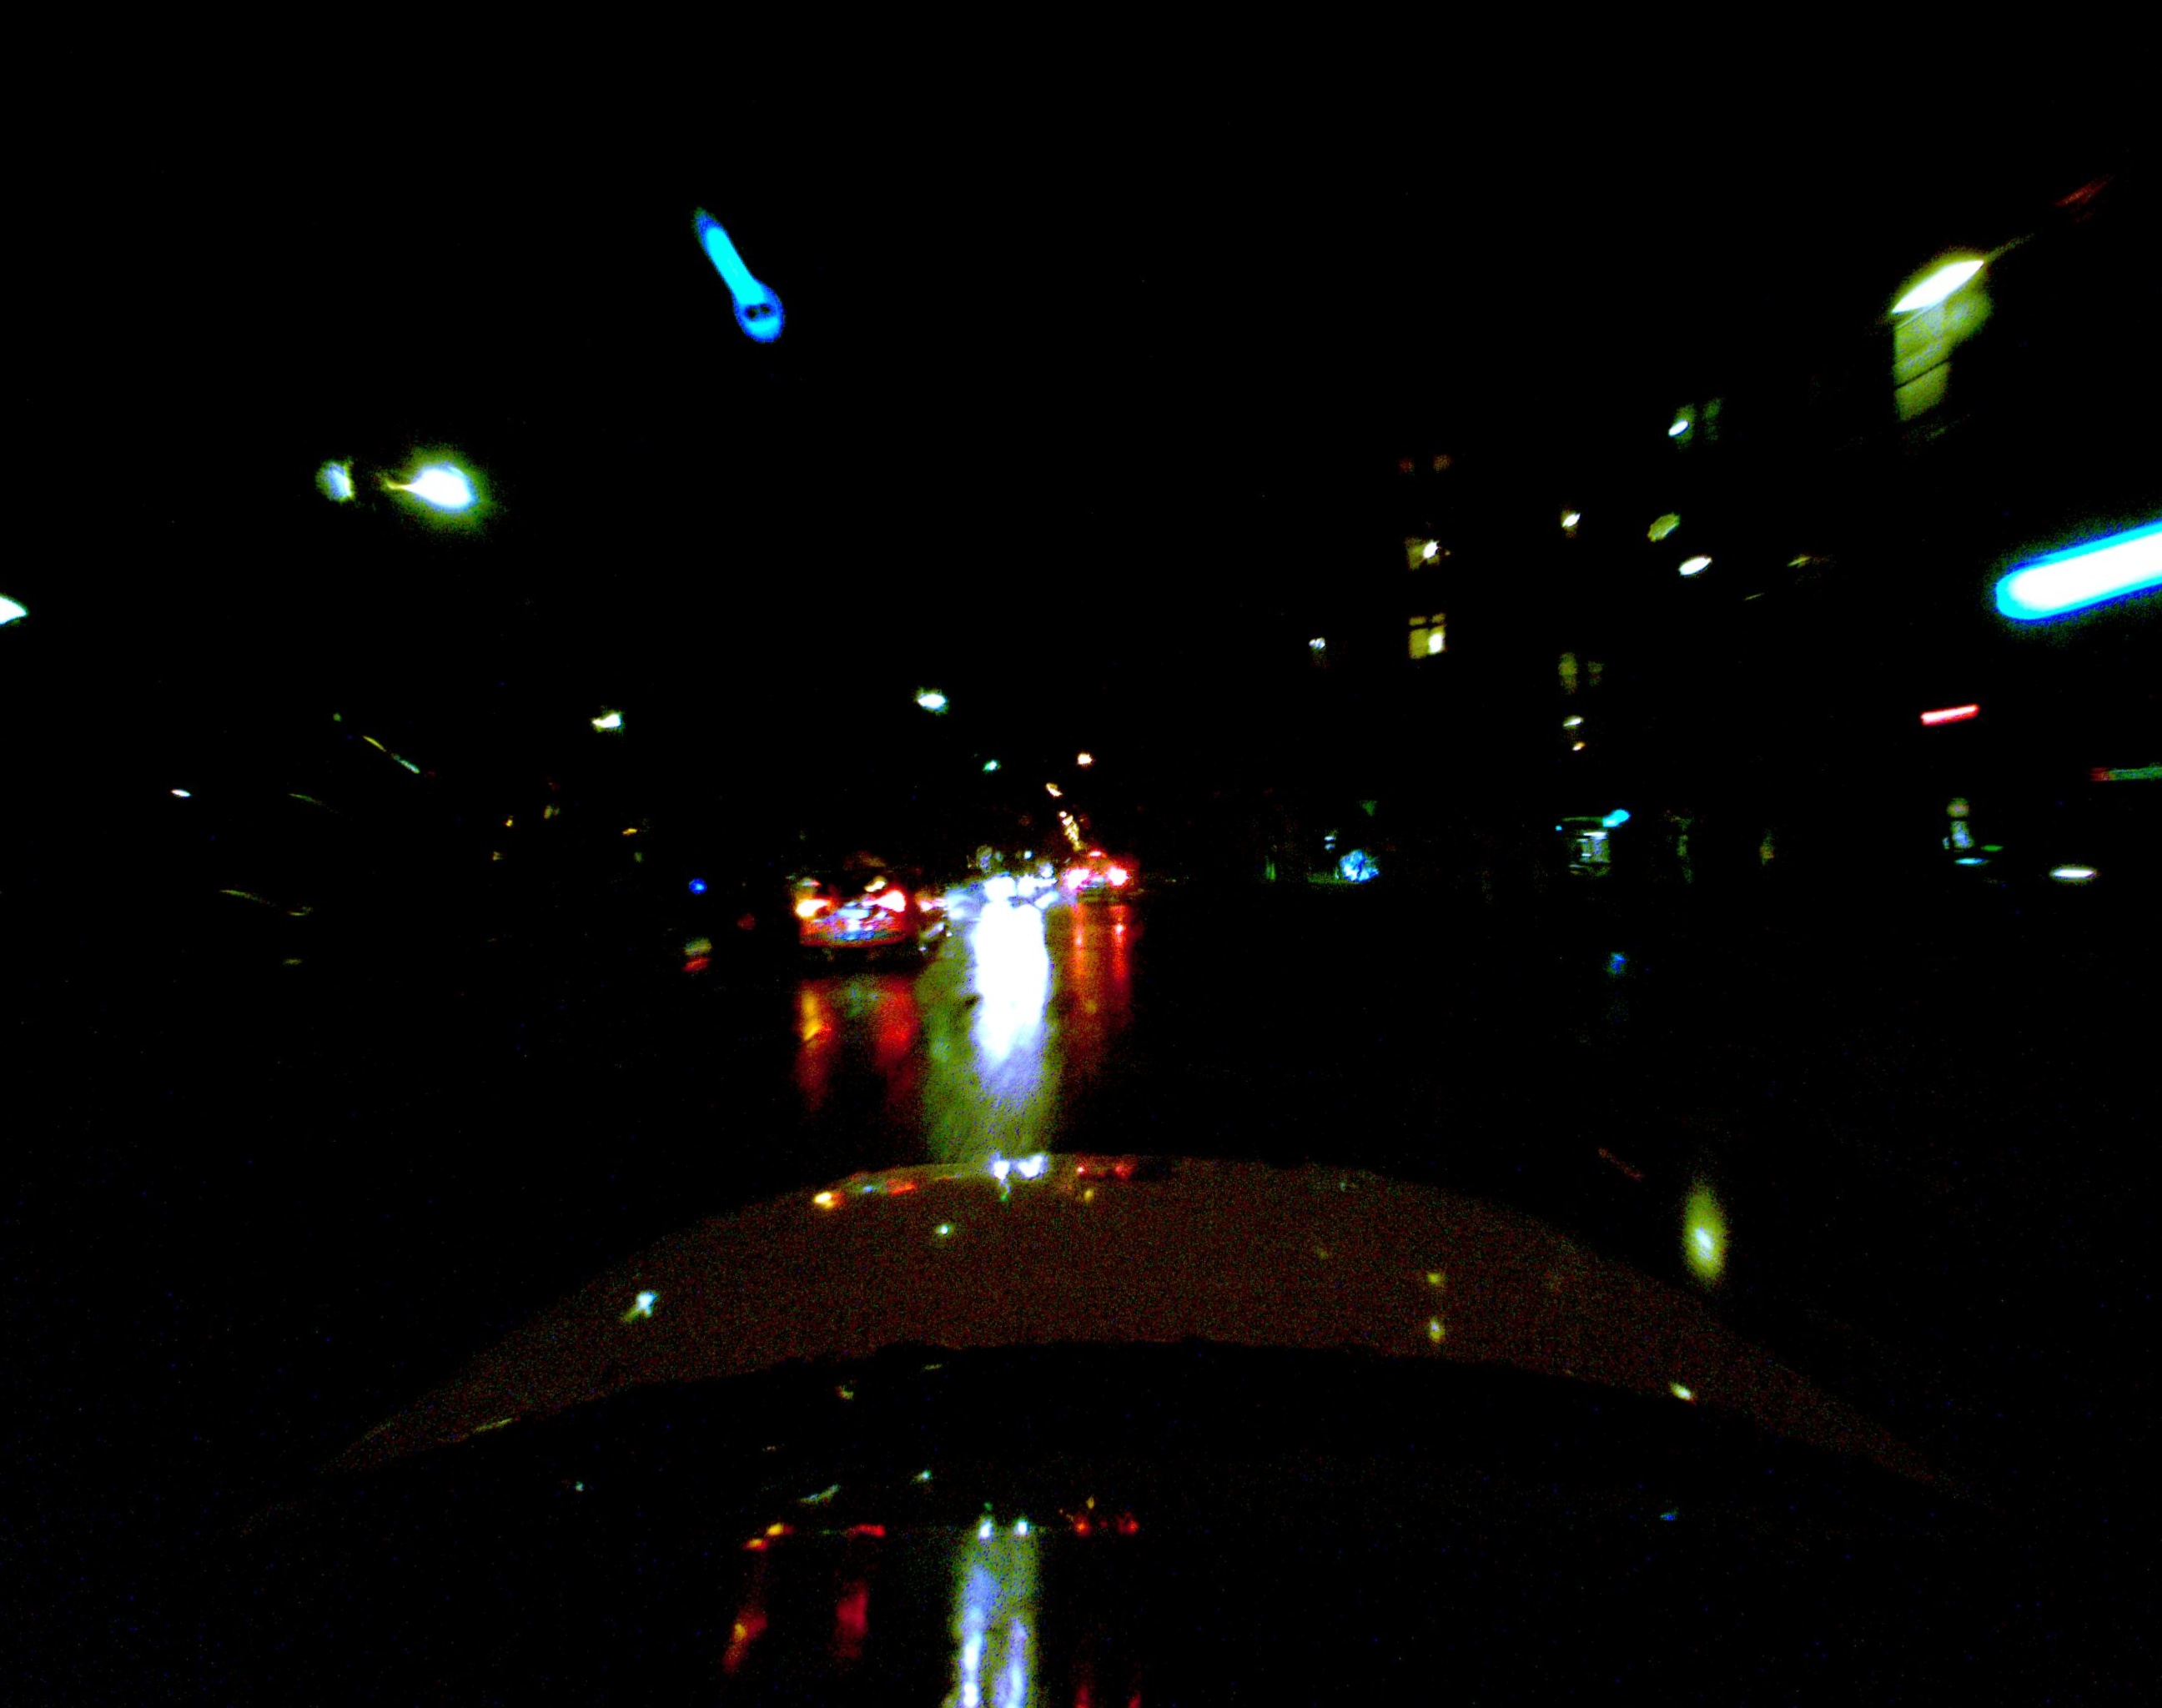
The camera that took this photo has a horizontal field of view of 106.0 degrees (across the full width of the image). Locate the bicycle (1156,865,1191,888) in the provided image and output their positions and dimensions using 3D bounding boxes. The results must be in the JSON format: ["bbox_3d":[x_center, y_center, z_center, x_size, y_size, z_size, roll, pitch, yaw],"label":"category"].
[{"bbox_3d":[5.449,1.311,48.065,1.894,1.252,0.595,-3,-2,-5],"label":"bicycle"}]

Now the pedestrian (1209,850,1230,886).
[{"bbox_3d":[7.578,0.771,44.658,0.954,1.882,1.000,-2,-1,0],"label":"pedestrian"}]

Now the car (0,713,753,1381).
[{"bbox_3d":[-4.064,0.583,4.555,2.025,1.953,5.204,-2,0,3],"label":"car"}]

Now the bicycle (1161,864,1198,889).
[{"bbox_3d":[5.527,1.274,45.941,1.894,1.252,0.709,-3,-2,-5],"label":"bicycle"}]

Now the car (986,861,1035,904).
[{"bbox_3d":[-2.744,1.102,32.356,1.702,1.542,3.985,-2,-1,-2],"label":"car"}]

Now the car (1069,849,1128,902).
[{"bbox_3d":[0.668,0.849,33.228,2.161,1.972,4.301,-2,-1,0],"label":"car"}]

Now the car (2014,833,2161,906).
[{"bbox_3d":[24.219,0.331,18.379,3.753,1.579,1.752,-2,-1,22],"label":"car"}]

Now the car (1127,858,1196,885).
[{"bbox_3d":[5.166,1.130,51.795,4.206,1.457,1.836,-3,0,-38],"label":"car"}]

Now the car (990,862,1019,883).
[{"bbox_3d":[-7.768,1.865,82.339,1.996,1.972,4.276,-1,-1,-17],"label":"car"}]

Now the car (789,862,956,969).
[{"bbox_3d":[-3.476,0.952,14.537,1.813,1.542,4.723,-2,-1,-1],"label":"car"}]

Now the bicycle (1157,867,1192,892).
[{"bbox_3d":[5.606,1.547,48.830,1.894,1.360,0.595,-3,-2,-5],"label":"bicycle"}]

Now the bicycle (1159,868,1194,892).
[{"bbox_3d":[5.483,1.472,46.758,1.894,1.252,0.595,-3,-2,-5],"label":"bicycle"}]

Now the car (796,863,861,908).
[{"bbox_3d":[-10.803,1.297,35.119,1.890,1.780,4.323,-2,-1,-7],"label":"car"}]

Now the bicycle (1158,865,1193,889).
[{"bbox_3d":[5.506,1.343,47.435,1.894,1.252,0.595,-3,-2,-5],"label":"bicycle"}]

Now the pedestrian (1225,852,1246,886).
[{"bbox_3d":[7.618,0.740,40.158,0.778,1.618,1.000,-2,-1,0],"label":"pedestrian"}]

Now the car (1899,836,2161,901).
[{"bbox_3d":[25.447,0.403,21.823,4.535,1.579,1.932,-2,-1,22],"label":"car"}]

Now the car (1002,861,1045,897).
[{"bbox_3d":[-2.650,1.166,38.321,1.663,1.562,4.007,-2,-1,0],"label":"car"}]

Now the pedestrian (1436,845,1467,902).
[{"bbox_3d":[13.724,0.722,30.170,0.965,2.013,1.021,-2,2,23],"label":"pedestrian"}]

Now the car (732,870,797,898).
[{"bbox_3d":[-22.162,2.099,57.158,1.682,1.701,4.218,-2,1,25],"label":"car"}]

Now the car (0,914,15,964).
[{"bbox_3d":[-37.028,2.831,26.424,4.281,1.569,1.908,-2,-1,23],"label":"car"}]
